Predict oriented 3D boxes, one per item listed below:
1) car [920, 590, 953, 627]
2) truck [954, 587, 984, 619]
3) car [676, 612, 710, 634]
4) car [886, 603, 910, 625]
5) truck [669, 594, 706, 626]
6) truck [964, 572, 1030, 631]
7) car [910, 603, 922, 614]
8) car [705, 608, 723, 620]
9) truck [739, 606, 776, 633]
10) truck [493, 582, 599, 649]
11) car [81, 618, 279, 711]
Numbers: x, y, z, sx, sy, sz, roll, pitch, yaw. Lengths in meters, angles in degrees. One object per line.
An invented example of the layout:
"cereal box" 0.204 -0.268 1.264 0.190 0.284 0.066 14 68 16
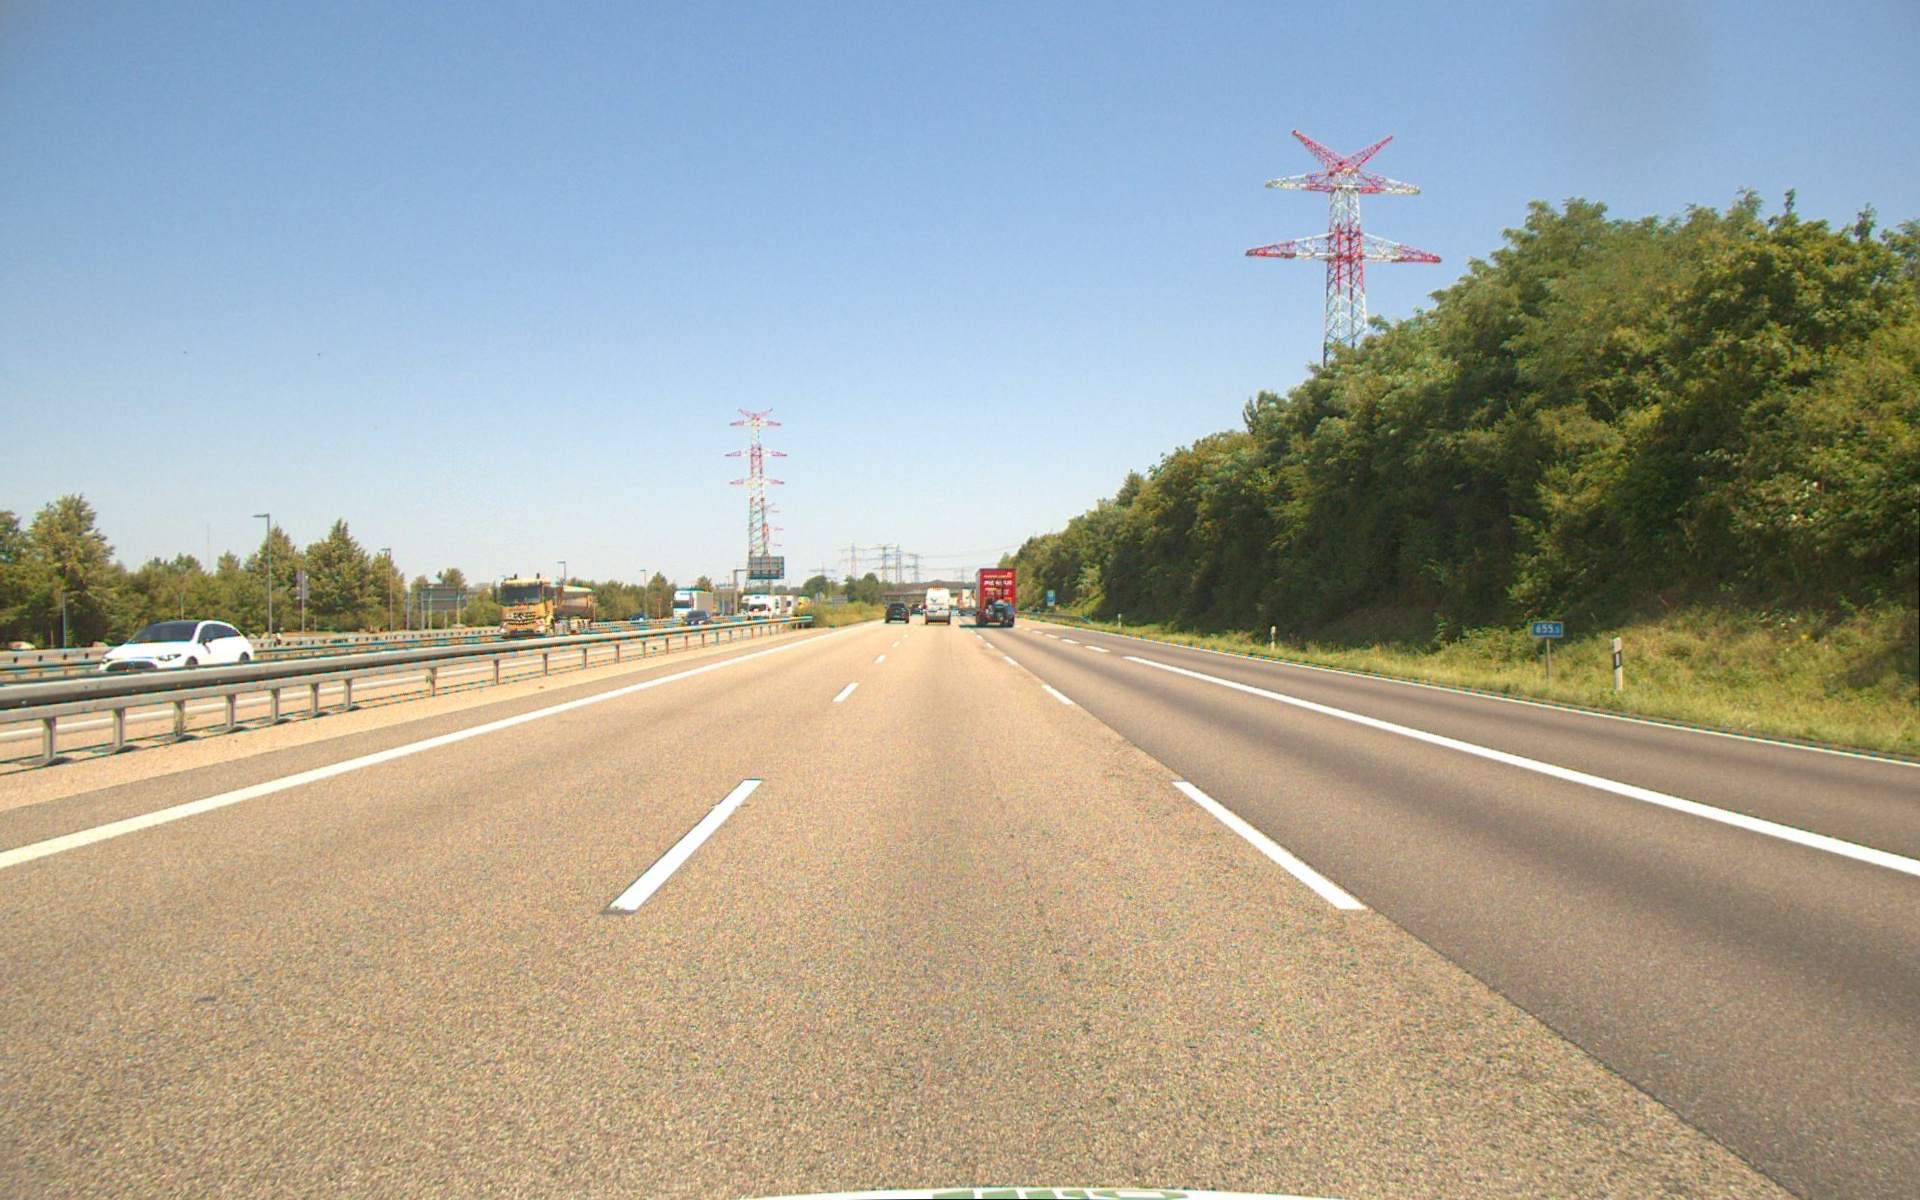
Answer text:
"car" -1.865 0.631 130.048 2.568 2.807 6.094 0 0 -1
"truck" 1.268 0.445 246.306 4.243 4.603 16.074 0 0 -1
"car" -18.108 1.520 112.366 1.779 1.415 3.902 -1 0 -2
"car" -5.164 1.178 137.320 1.953 1.780 3.999 0 0 -2
"truck" -33.814 1.257 205.918 2.662 3.782 12.385 -1 0 -1
"truck" 2.556 0.073 121.660 4.243 4.010 16.074 0 0 -1
"car" -6.474 1.271 243.929 1.712 1.662 4.002 0 0 -1
"car" -30.128 1.730 202.600 1.779 1.415 3.902 -1 0 -2
"truck" -19.674 1.881 161.268 2.662 2.464 8.105 -1 0 -1
"truck" -22.066 0.826 88.908 2.662 3.316 12.385 -1 0 -1
"car" -17.580 1.382 37.621 2.011 1.875 5.471 -1 0 -2
